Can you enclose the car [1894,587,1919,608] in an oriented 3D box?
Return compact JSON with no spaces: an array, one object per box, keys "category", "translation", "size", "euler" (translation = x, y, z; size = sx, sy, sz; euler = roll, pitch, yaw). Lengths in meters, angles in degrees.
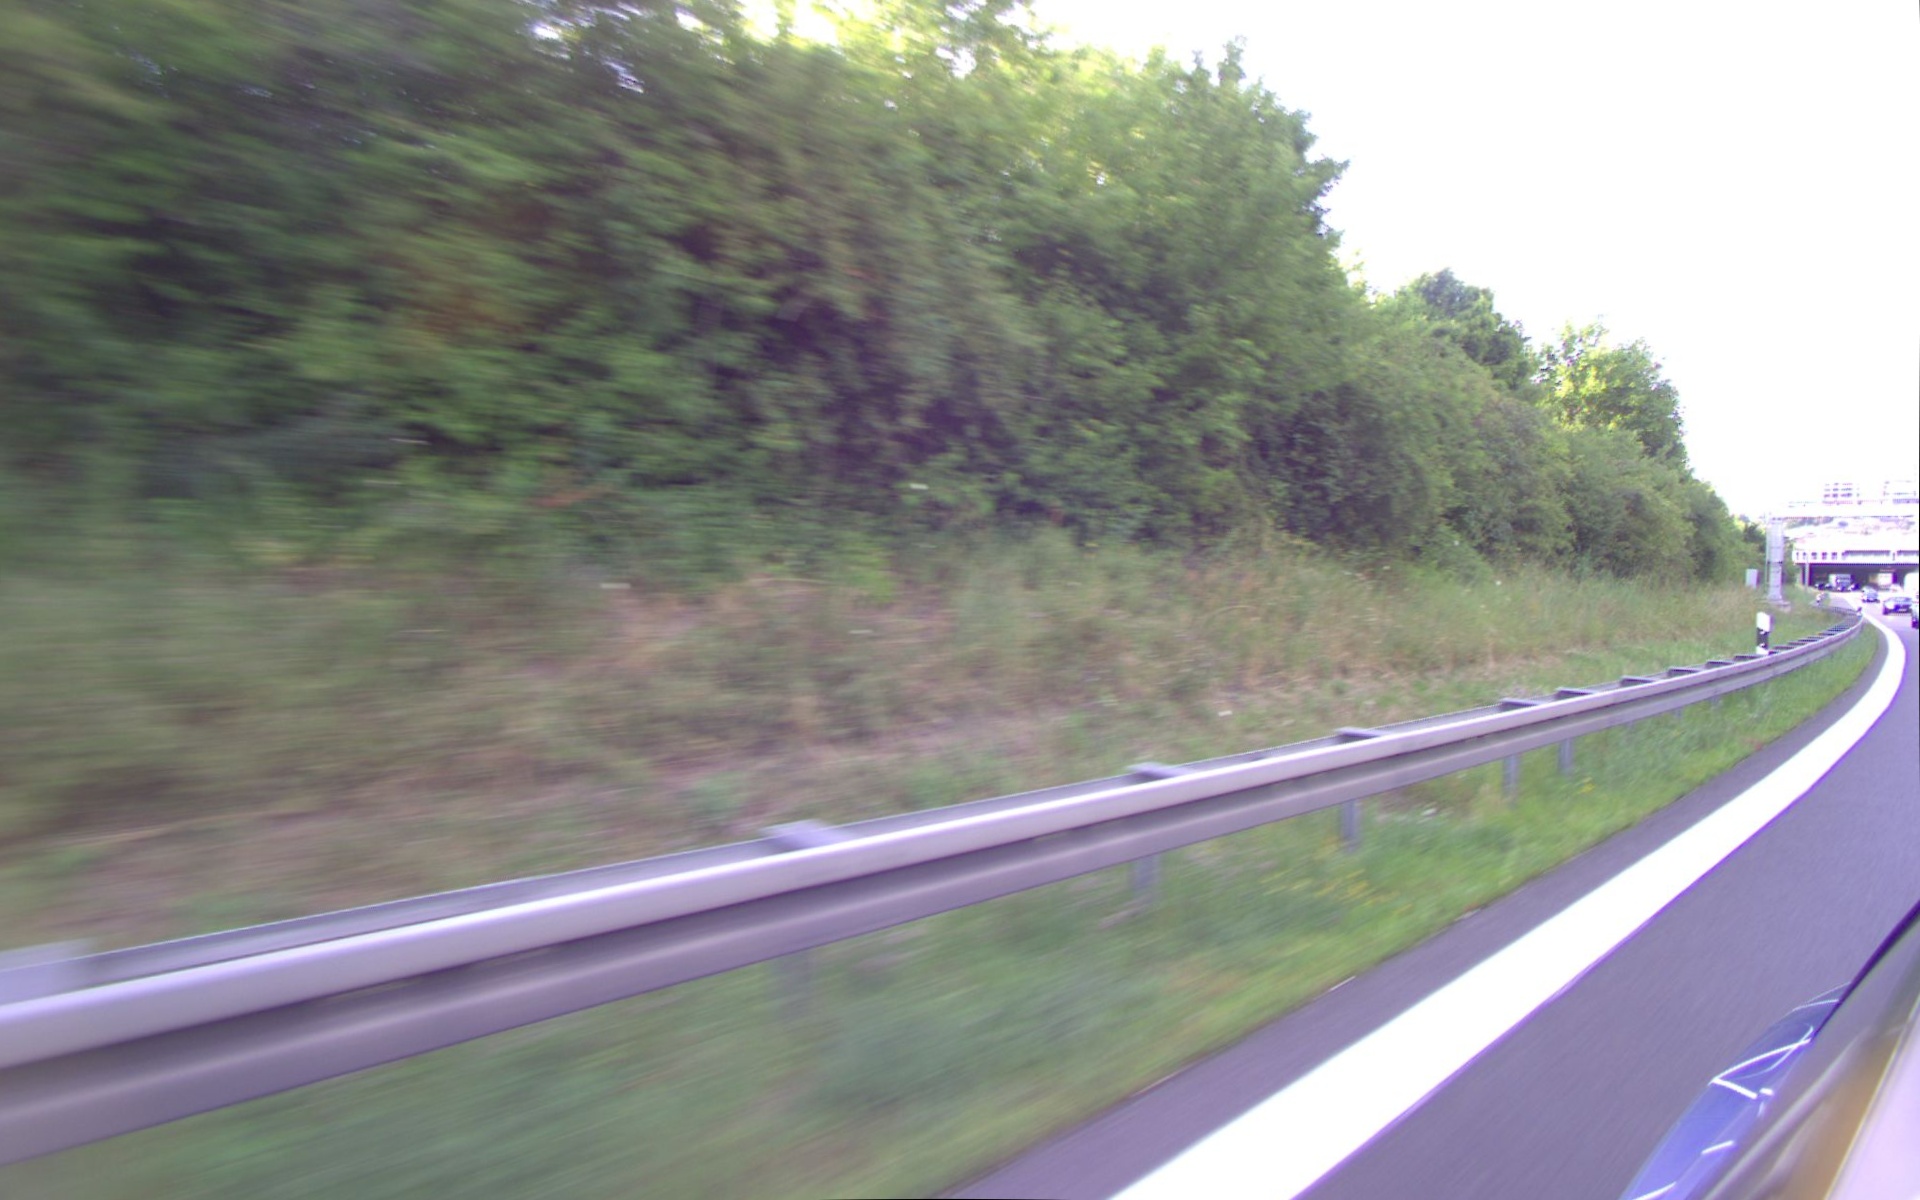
[{"category":"car","translation":[68.328,-0.194,72.809],"size":[1.615,1.478,3.606],"euler":[0,0,43]}]
